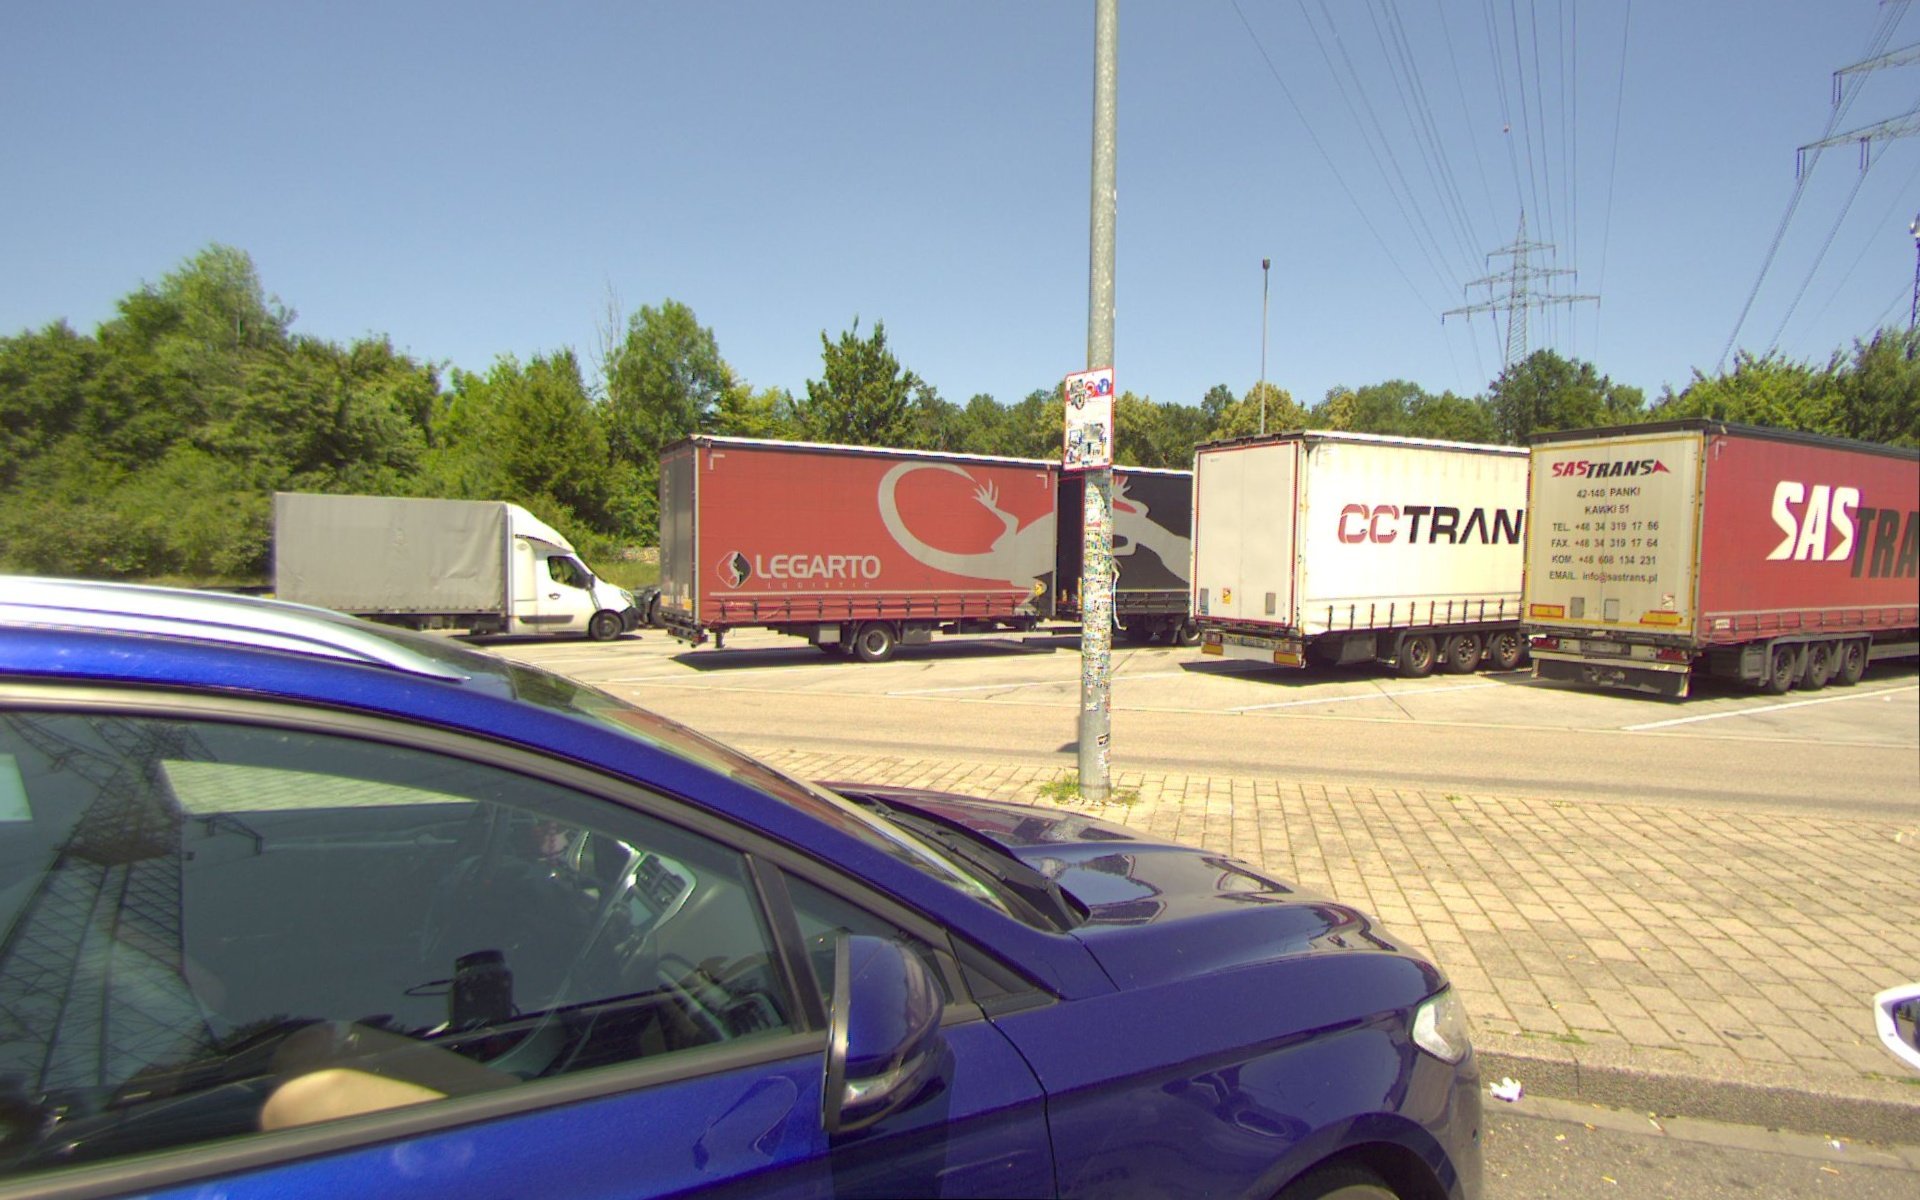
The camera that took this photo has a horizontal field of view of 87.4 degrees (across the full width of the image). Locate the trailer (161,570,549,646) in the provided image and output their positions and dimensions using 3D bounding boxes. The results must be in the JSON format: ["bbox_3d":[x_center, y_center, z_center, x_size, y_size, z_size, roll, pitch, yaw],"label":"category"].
[{"bbox_3d":[-14.762,0.103,25.223,8.007,1.648,2.199,-1,3,-30],"label":"trailer"}]

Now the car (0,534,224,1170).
[{"bbox_3d":[-4.426,0.581,2.078,4.522,1.526,1.743,0,2,-32],"label":"car"}]

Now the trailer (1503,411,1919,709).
[{"bbox_3d":[15.454,-0.677,18.600,13.599,4.127,2.807,-1,3,-31],"label":"trailer"}]

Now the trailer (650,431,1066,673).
[{"bbox_3d":[-1.893,-0.904,20.320,8.007,4.127,2.693,-1,3,-30],"label":"trailer"}]

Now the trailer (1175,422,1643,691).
[{"bbox_3d":[8.960,-0.771,19.333,10.264,4.158,2.693,-1,3,-30],"label":"trailer"}]

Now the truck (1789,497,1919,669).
[{"bbox_3d":[21.246,-0.405,22.037,5.903,3.409,2.798,-1,3,-30],"label":"truck"}]

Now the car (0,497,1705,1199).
[{"bbox_3d":[-0.984,0.653,1.441,4.522,1.491,1.743,0,2,-32],"label":"car"}]

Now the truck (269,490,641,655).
[{"bbox_3d":[-11.251,-0.624,22.983,7.187,3.289,2.694,-1,3,-29],"label":"truck"}]

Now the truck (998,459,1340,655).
[{"bbox_3d":[5.259,-1.000,24.528,8.586,4.127,2.693,-1,3,-30],"label":"truck"}]
